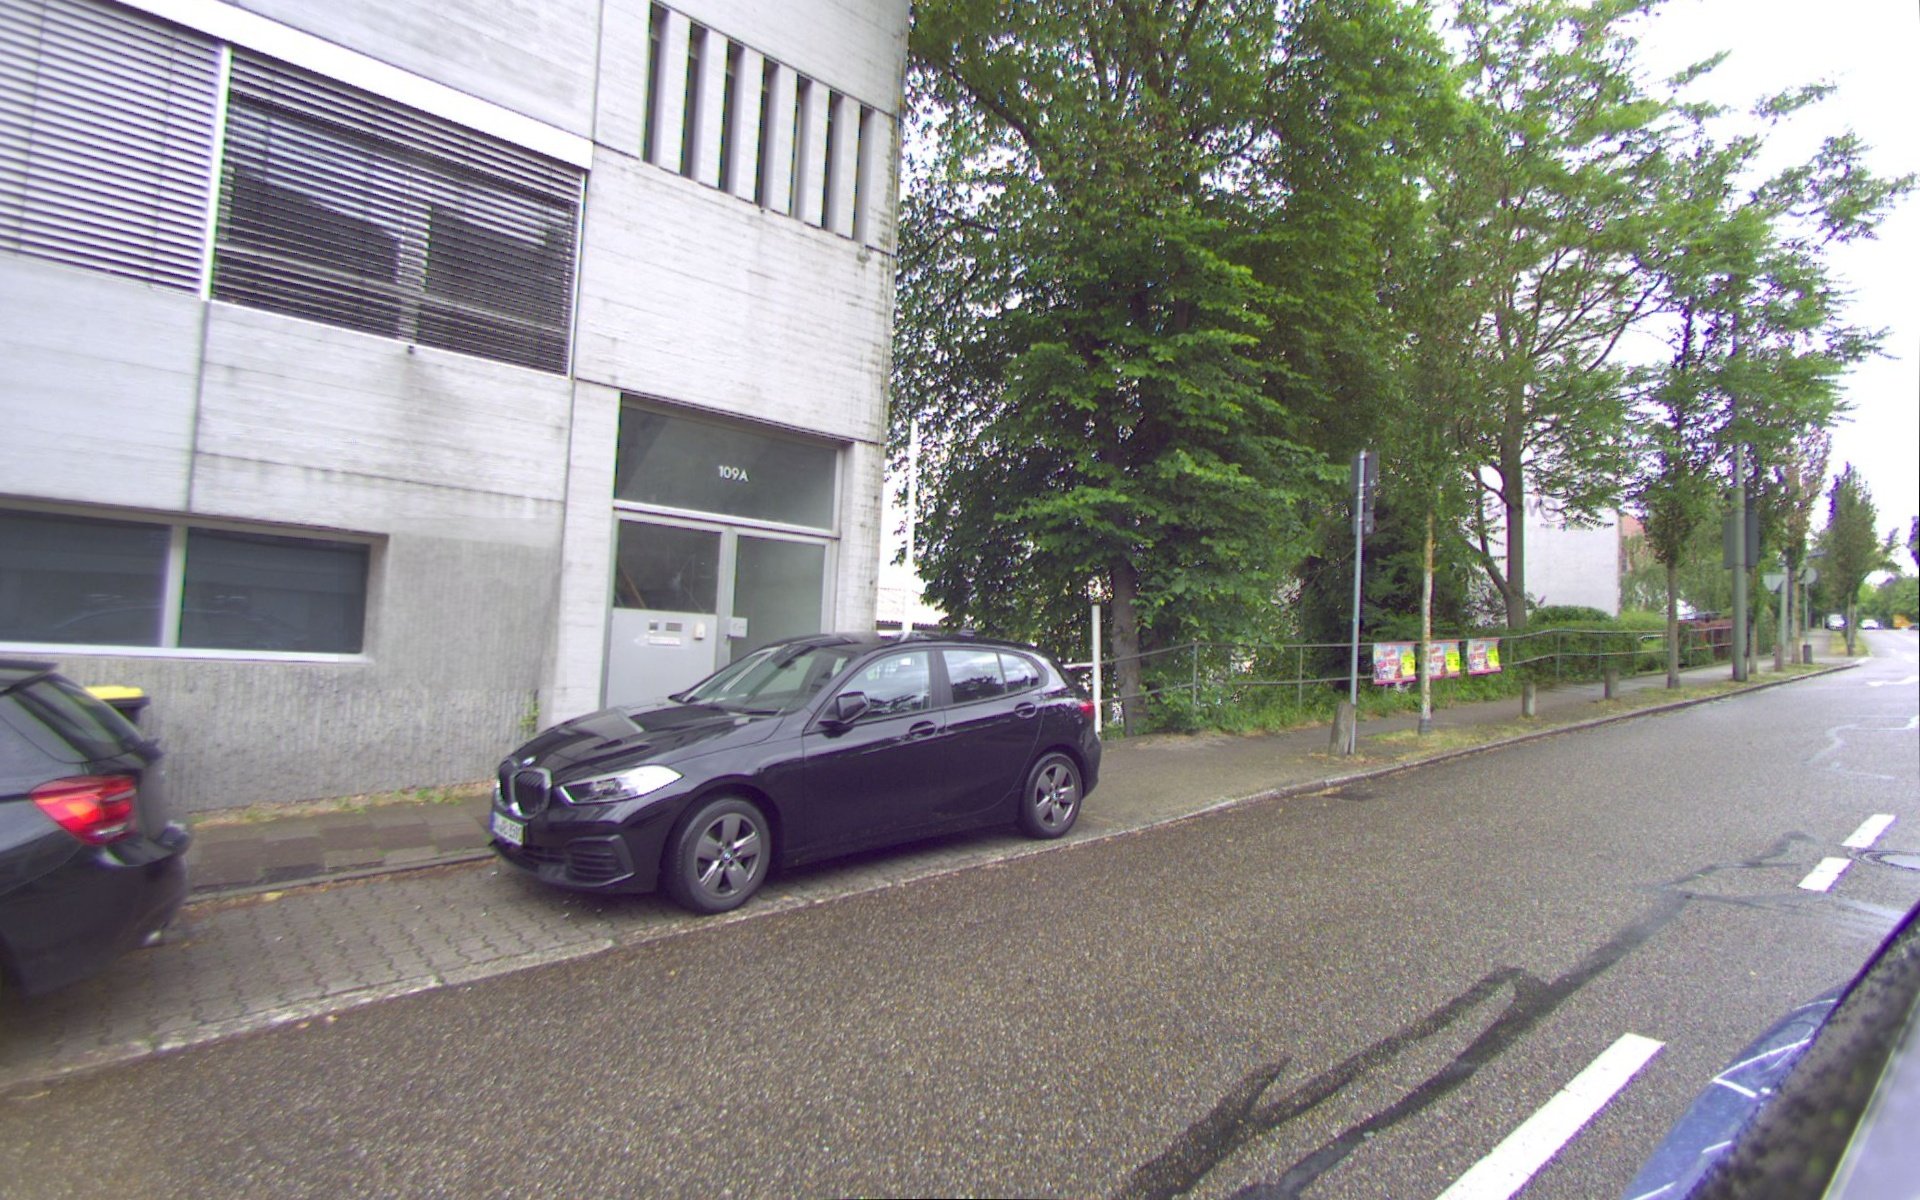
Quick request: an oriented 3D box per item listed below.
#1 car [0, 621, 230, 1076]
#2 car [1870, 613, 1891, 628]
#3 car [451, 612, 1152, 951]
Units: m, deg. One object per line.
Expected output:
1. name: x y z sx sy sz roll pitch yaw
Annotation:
1. car: -4.895 0.845 3.167 4.173 1.466 1.753 0 0 -38
2. car: 122.348 2.725 134.481 1.888 1.741 4.169 2 2 45
3. car: -0.830 0.870 6.927 4.367 1.453 1.996 0 2 -43
